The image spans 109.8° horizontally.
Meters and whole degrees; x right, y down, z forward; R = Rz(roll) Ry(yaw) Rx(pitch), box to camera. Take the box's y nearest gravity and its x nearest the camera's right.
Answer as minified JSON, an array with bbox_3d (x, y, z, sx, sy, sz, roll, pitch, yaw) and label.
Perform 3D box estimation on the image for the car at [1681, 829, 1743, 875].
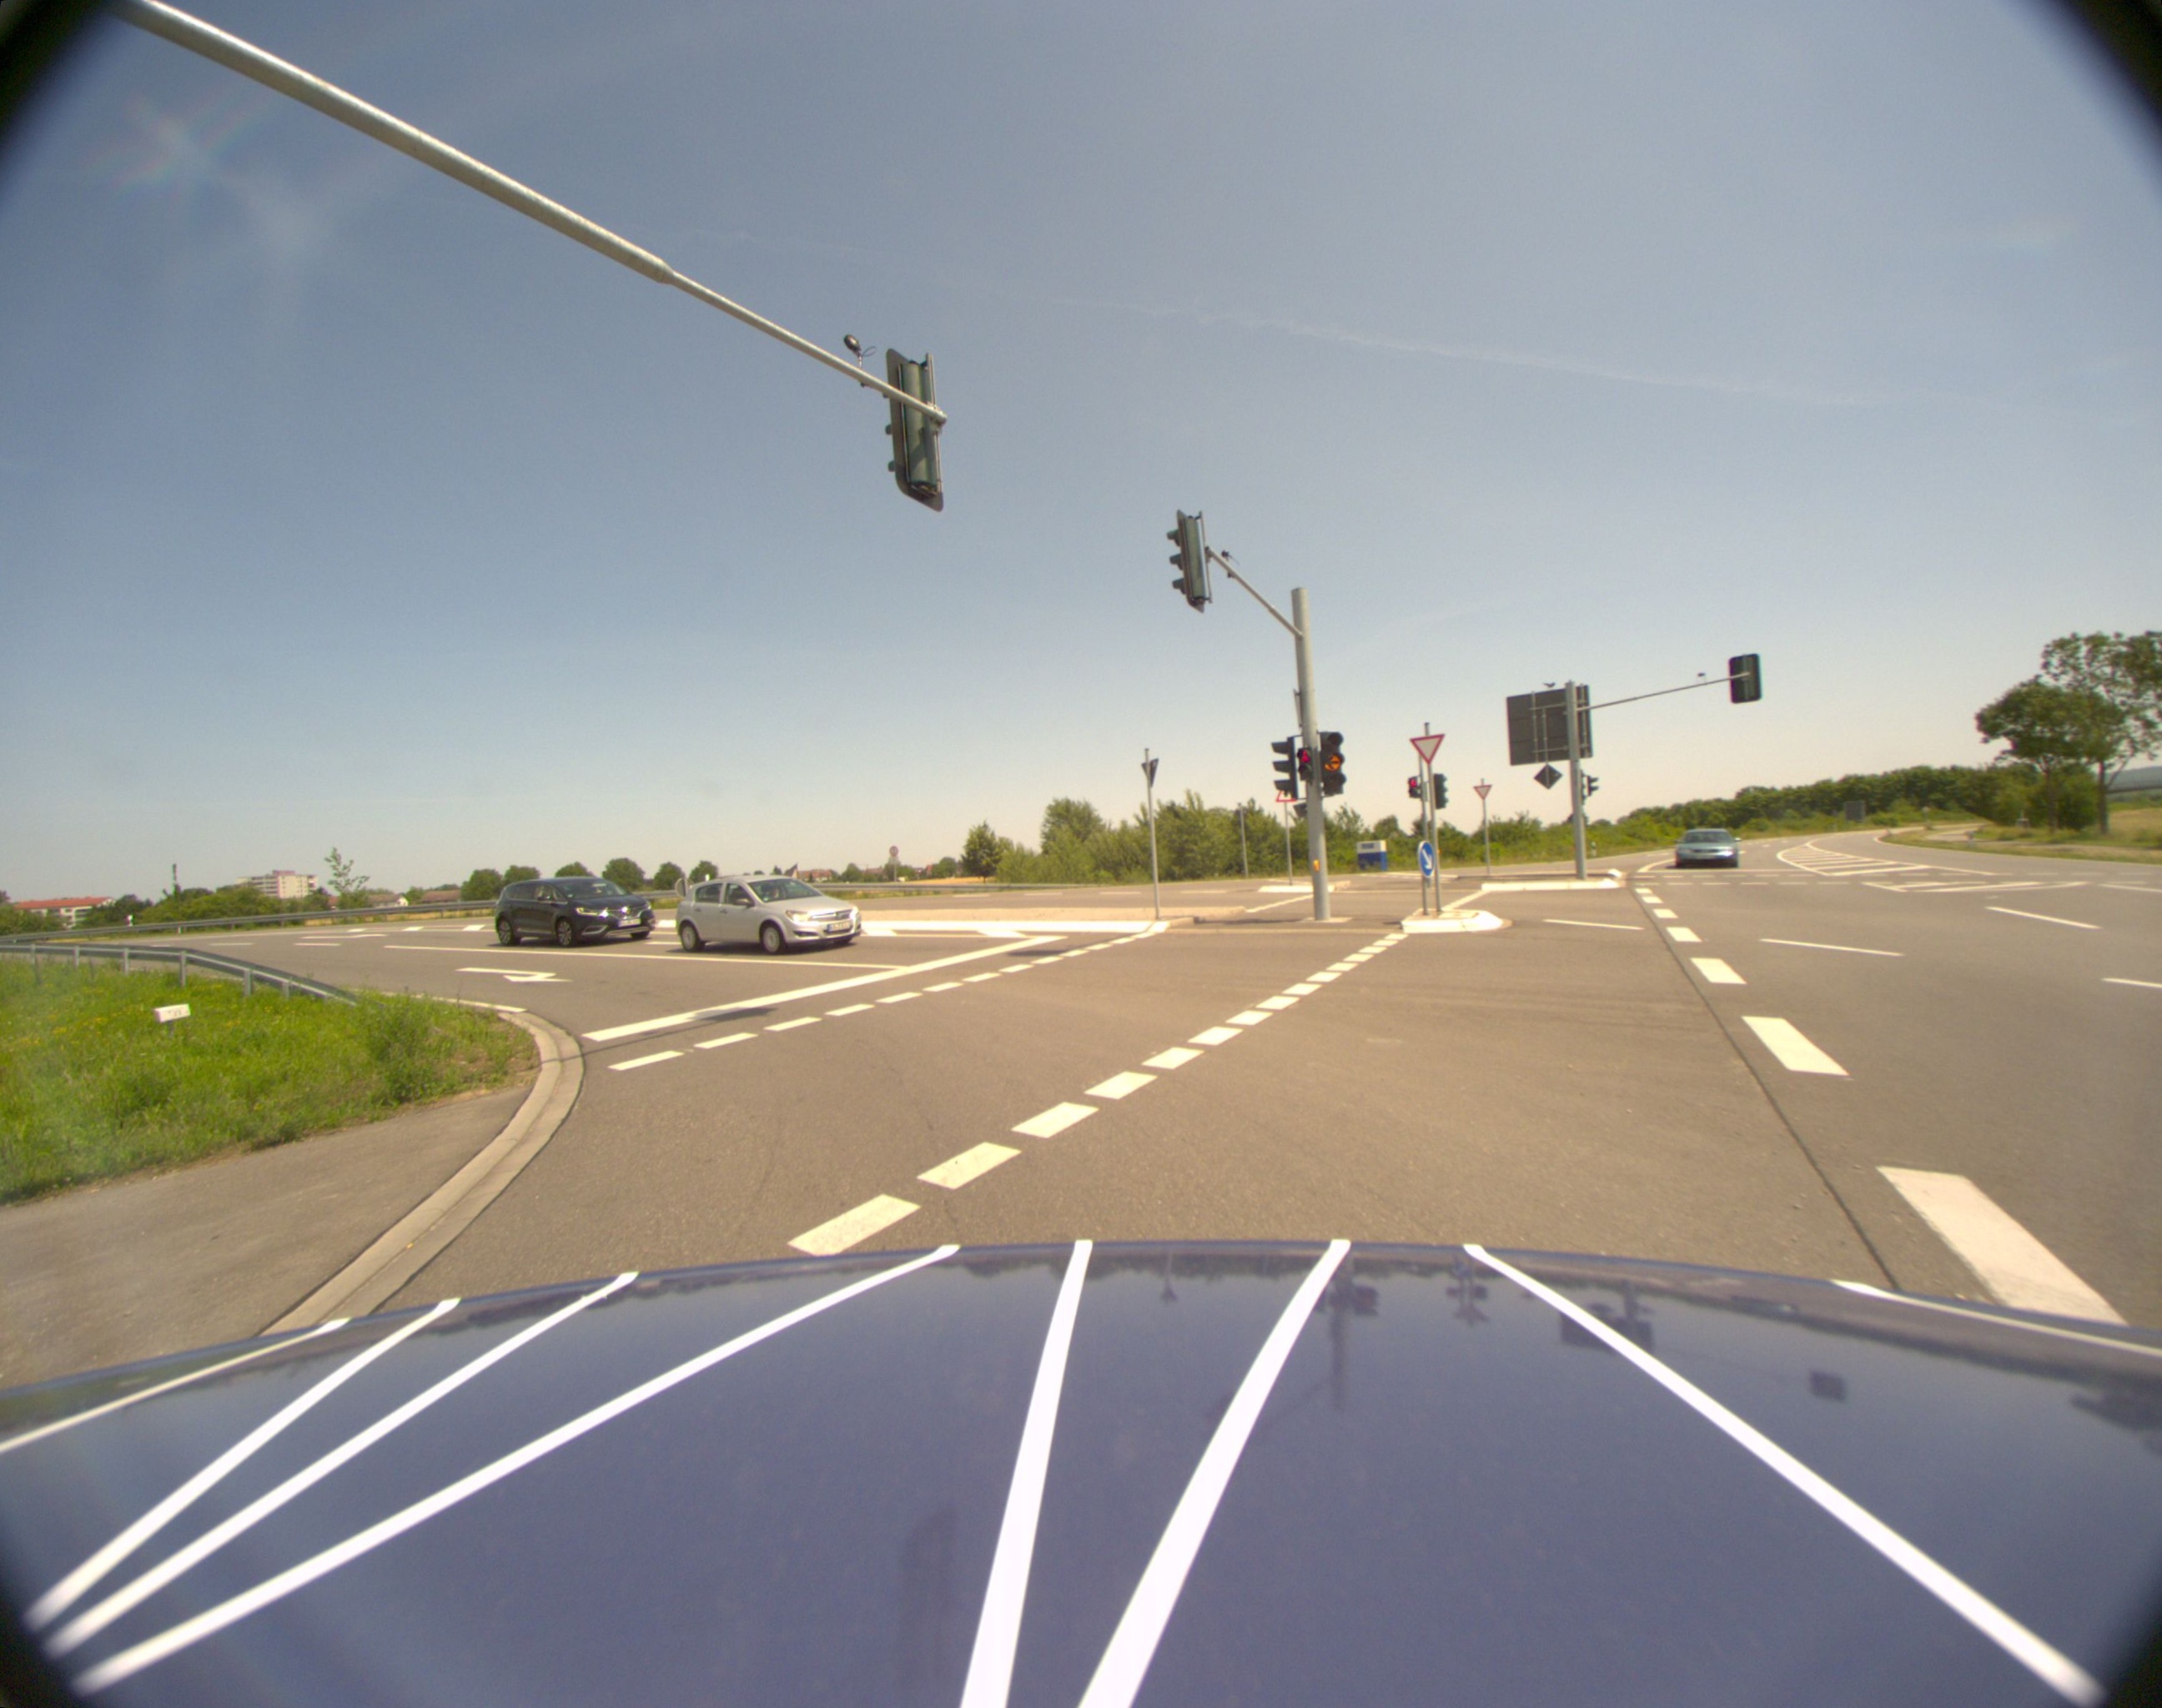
[{"bbox_3d":[23.399,-0.097,28.200,1.653,1.557,4.008,-2,0,40],"label":"car"}]

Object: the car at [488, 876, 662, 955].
[{"bbox_3d":[-12.579,1.469,18.807,4.515,1.631,1.817,-3,1,32],"label":"car"}]

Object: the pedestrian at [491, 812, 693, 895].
[{"bbox_3d":[-12.969,-0.042,20.430,1.995,2.002,4.006,-2,1,27],"label":"pedestrian"}]

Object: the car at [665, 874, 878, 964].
[{"bbox_3d":[-6.074,1.230,14.792,4.141,1.451,1.664,-3,0,32],"label":"car"}]
